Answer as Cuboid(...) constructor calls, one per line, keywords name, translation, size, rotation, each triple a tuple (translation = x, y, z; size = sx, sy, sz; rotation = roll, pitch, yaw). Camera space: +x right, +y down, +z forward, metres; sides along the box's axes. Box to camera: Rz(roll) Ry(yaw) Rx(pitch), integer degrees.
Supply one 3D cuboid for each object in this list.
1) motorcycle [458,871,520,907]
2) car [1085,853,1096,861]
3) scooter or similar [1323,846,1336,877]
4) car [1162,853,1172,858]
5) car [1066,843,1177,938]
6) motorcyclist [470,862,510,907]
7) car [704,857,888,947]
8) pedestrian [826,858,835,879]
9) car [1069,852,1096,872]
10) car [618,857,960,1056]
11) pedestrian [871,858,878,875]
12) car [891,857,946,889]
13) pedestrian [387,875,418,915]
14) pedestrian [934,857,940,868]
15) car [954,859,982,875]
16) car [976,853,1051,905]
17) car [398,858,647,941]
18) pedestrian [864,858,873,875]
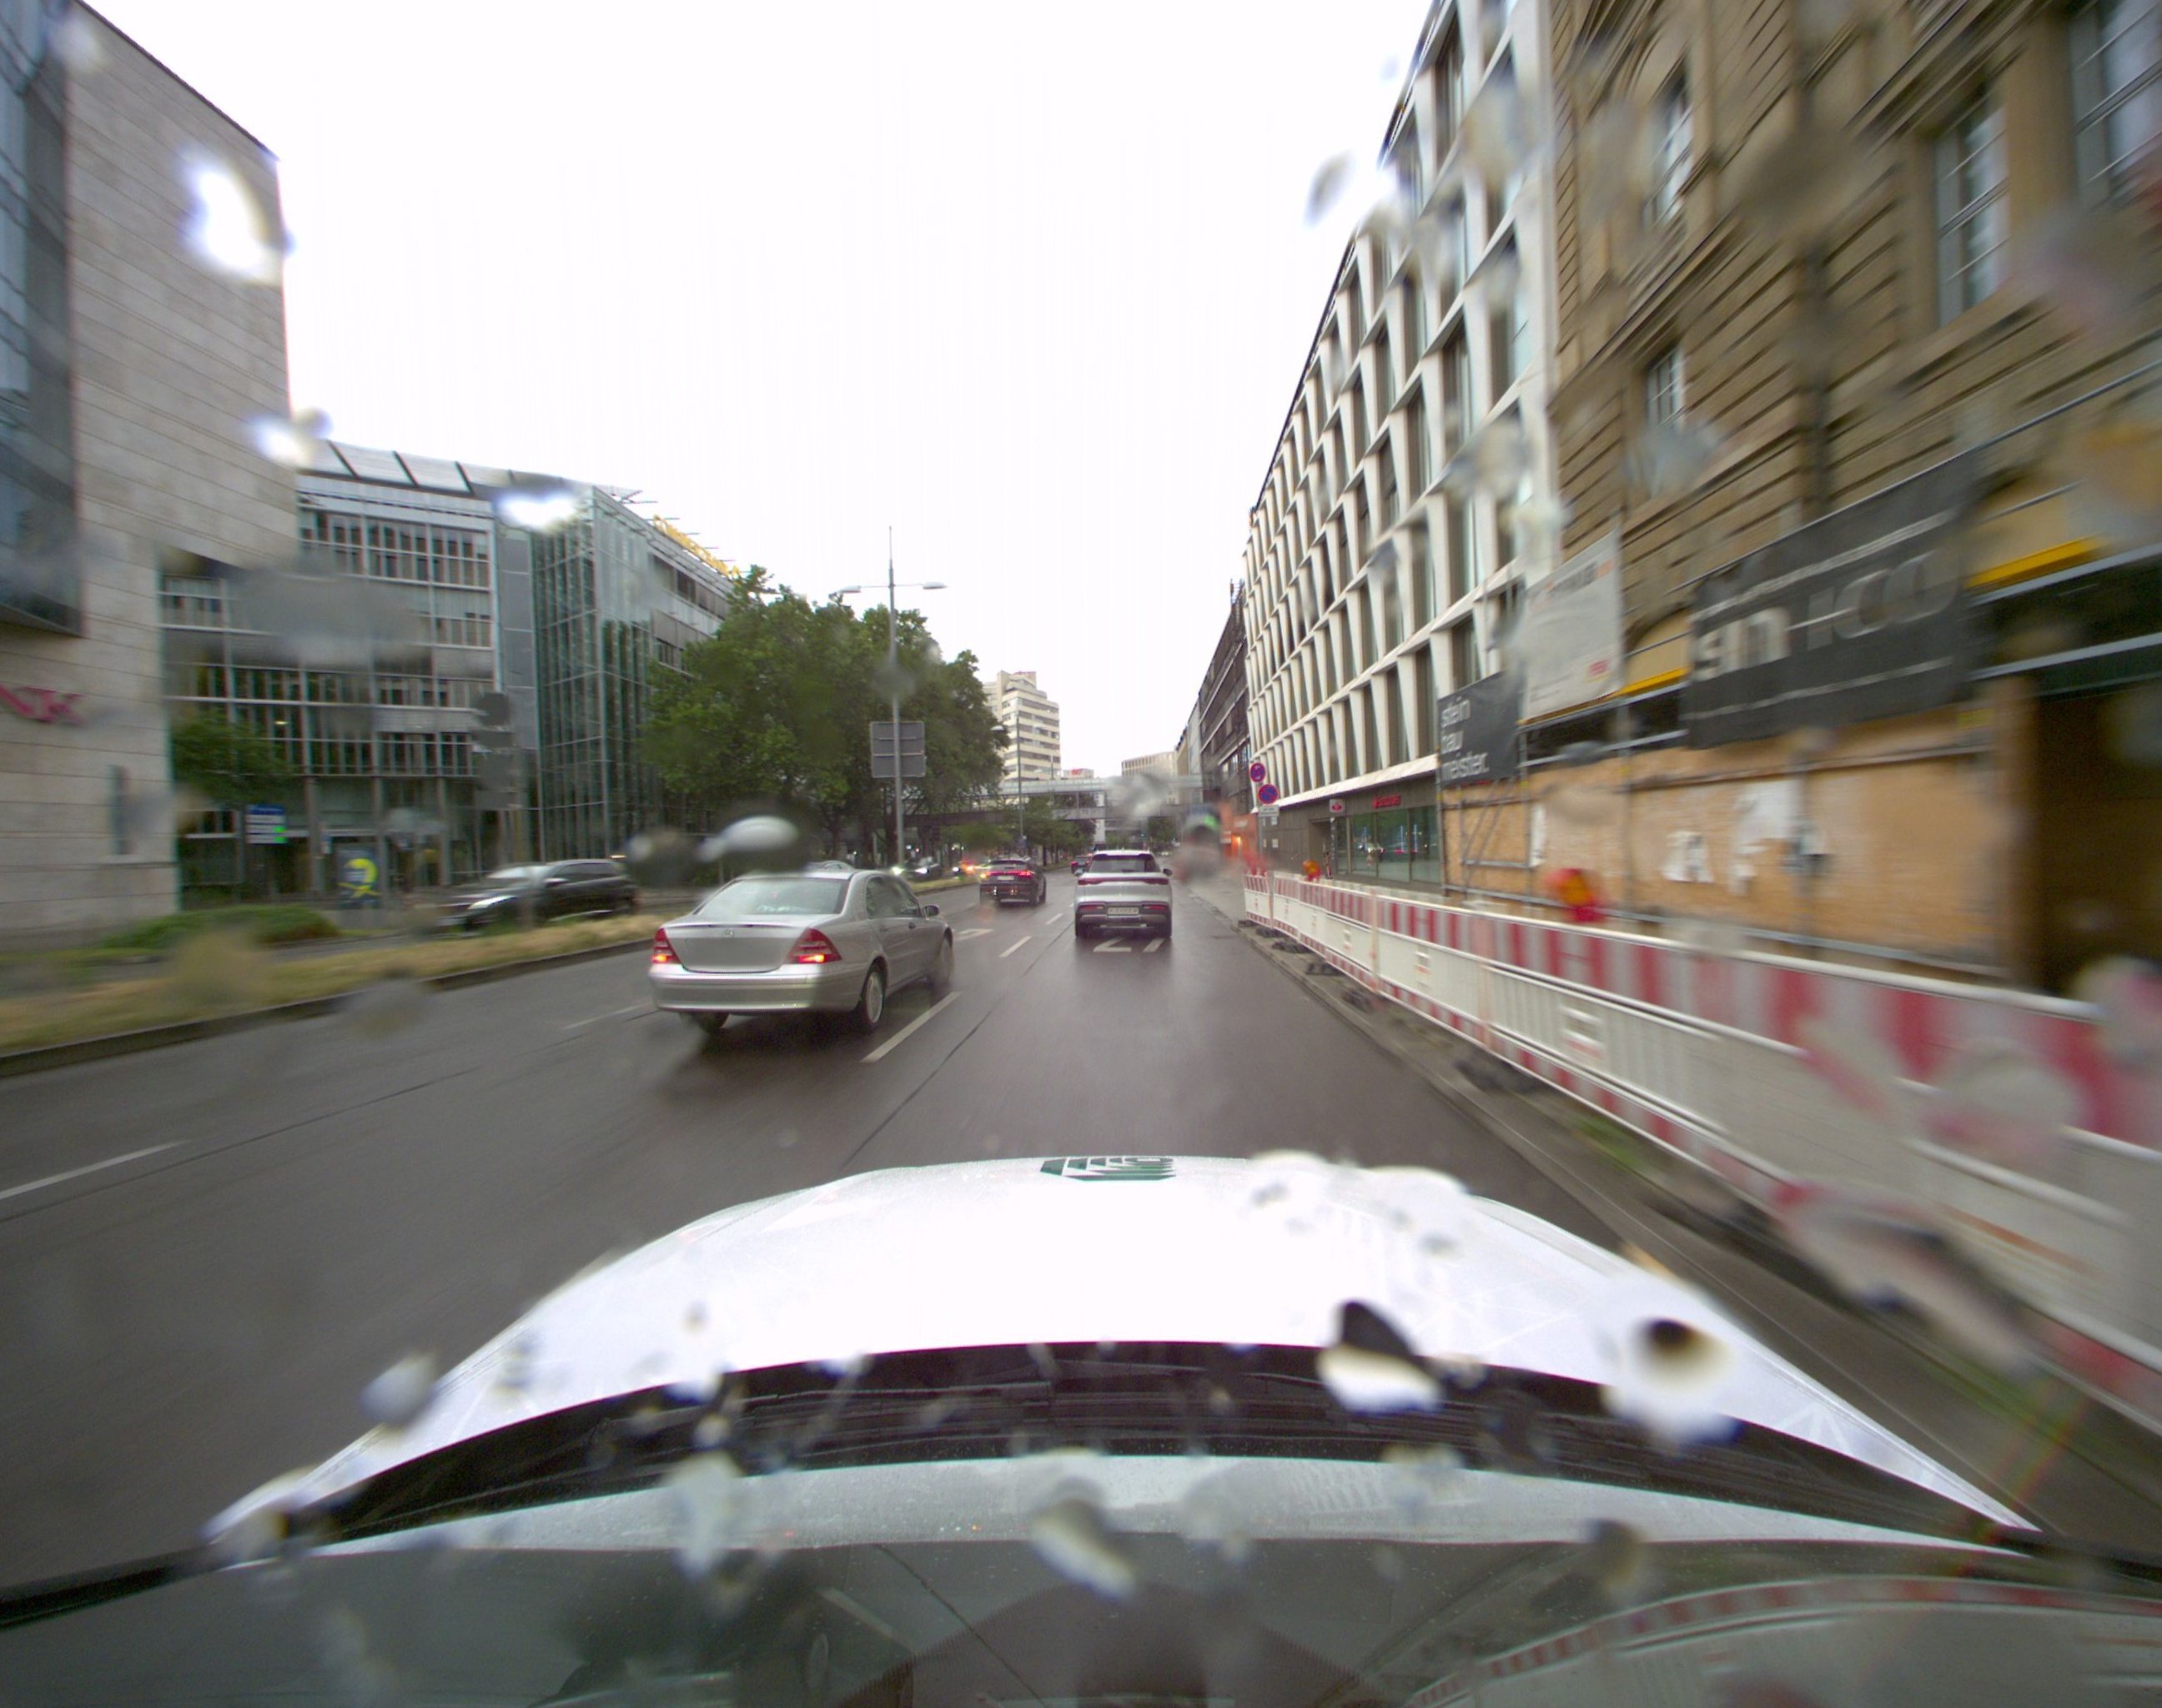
Cuboid(name="motorcycle", translation=(-17.065, 1.001, 23.507), size=(0.691, 0.970, 1.399), rotation=(-1, 0, 5))
Cuboid(name="car", translation=(1.791, 0.477, 149.266), size=(1.645, 1.342, 4.006), rotation=(-1, 0, 5))
Cuboid(name="scooter or similar", translation=(10.149, 0.315, 33.277), size=(0.409, 1.236, 1.193), rotation=(-1, 0, 12))
Cuboid(name="car", translation=(26.515, 0.429, 251.302), size=(1.565, 1.538, 4.026), rotation=(-1, 0, 34))
Cuboid(name="car", translation=(0.845, 0.659, 16.351), size=(1.893, 1.621, 4.004), rotation=(-2, 0, 4))
Cuboid(name="motorcyclist", translation=(-17.087, 0.875, 23.558), size=(0.671, 1.238, 0.620), rotation=(-1, 0, 5))
Cuboid(name="car", translation=(-5.508, 0.840, 16.513), size=(1.865, 1.479, 4.880), rotation=(-1, 0, 1))
Cuboid(name="pedestrian", translation=(-22.280, 1.298, 72.425), size=(0.603, 1.807, 0.511), rotation=(-2, 0, 4))
Cuboid(name="car", translation=(0.187, 0.632, 67.279), size=(1.803, 1.578, 4.006), rotation=(-1, 0, 6))
Cuboid(name="car", translation=(-2.539, 0.810, 8.317), size=(1.665, 1.479, 4.364), rotation=(-1, -1, 4))
Cuboid(name="pedestrian", translation=(-21.899, 1.321, 86.419), size=(0.557, 1.686, 0.511), rotation=(-2, 0, 3))
Cuboid(name="car", translation=(-9.245, 1.038, 46.640), size=(1.866, 1.680, 4.685), rotation=(-2, -1, 4))
Cuboid(name="pedestrian", translation=(-28.225, 1.686, 33.875), size=(0.668, 1.570, 0.817), rotation=(-2, 1, -18))
Cuboid(name="pedestrian", translation=(-22.684, 1.315, 128.225), size=(0.740, 1.715, 1.058), rotation=(-2, 0, 3))
Cuboid(name="car", translation=(-10.807, 1.266, 78.053), size=(1.683, 1.438, 4.764), rotation=(-2, -1, 4))
Cuboid(name="car", translation=(-2.059, 0.762, 25.889), size=(1.766, 1.457, 4.003), rotation=(-2, -1, 3))
Cuboid(name="car", translation=(-11.201, 0.833, 16.818), size=(1.692, 1.437, 4.587), rotation=(-2, -1, 4))
Cuboid(name="pedestrian", translation=(-22.549, 1.344, 86.386), size=(0.719, 1.807, 0.618), rotation=(-2, 0, 4))
